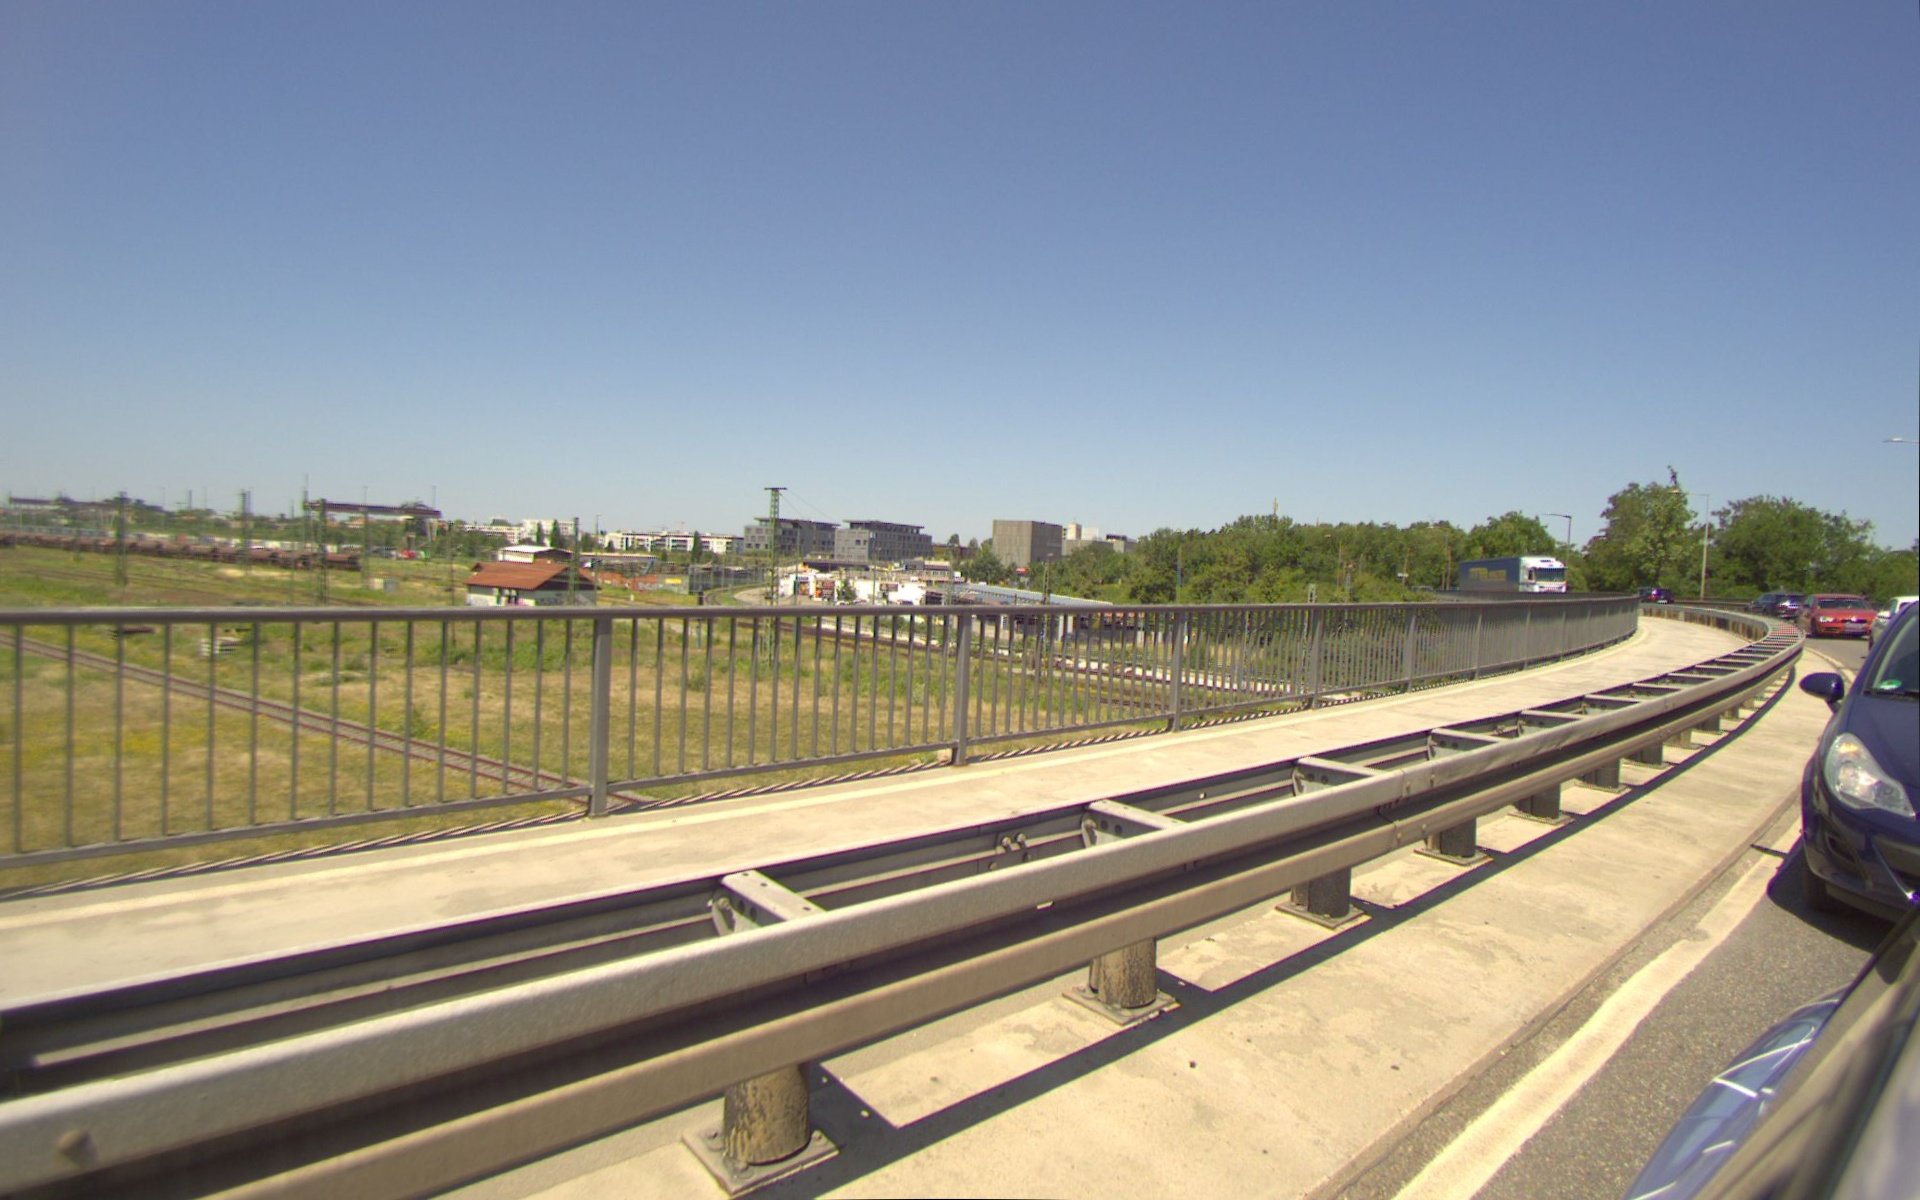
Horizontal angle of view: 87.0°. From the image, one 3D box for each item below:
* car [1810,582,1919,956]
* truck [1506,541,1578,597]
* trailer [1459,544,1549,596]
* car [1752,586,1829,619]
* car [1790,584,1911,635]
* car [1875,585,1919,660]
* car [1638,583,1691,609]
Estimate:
[{"bbox_3d":[5.469,0.650,4.986,1.641,1.457,3.935,1,1,45],"label":"car"},{"bbox_3d":[47.060,-2.462,82.027,2.651,4.281,6.825,-1,1,8],"label":"truck"},{"bbox_3d":[48.117,-2.609,90.001,2.656,4.287,12.688,0,1,7],"label":"trailer"},{"bbox_3d":[40.472,0.079,49.423,1.759,1.456,4.356,1,2,24],"label":"car"},{"bbox_3d":[28.613,0.246,32.682,1.778,1.473,4.483,1,2,26],"label":"car"},{"bbox_3d":[20.757,0.435,21.420,1.787,1.473,4.460,1,1,39],"label":"car"},{"bbox_3d":[48.023,-0.315,69.062,1.755,1.646,4.229,1,2,18],"label":"car"}]
